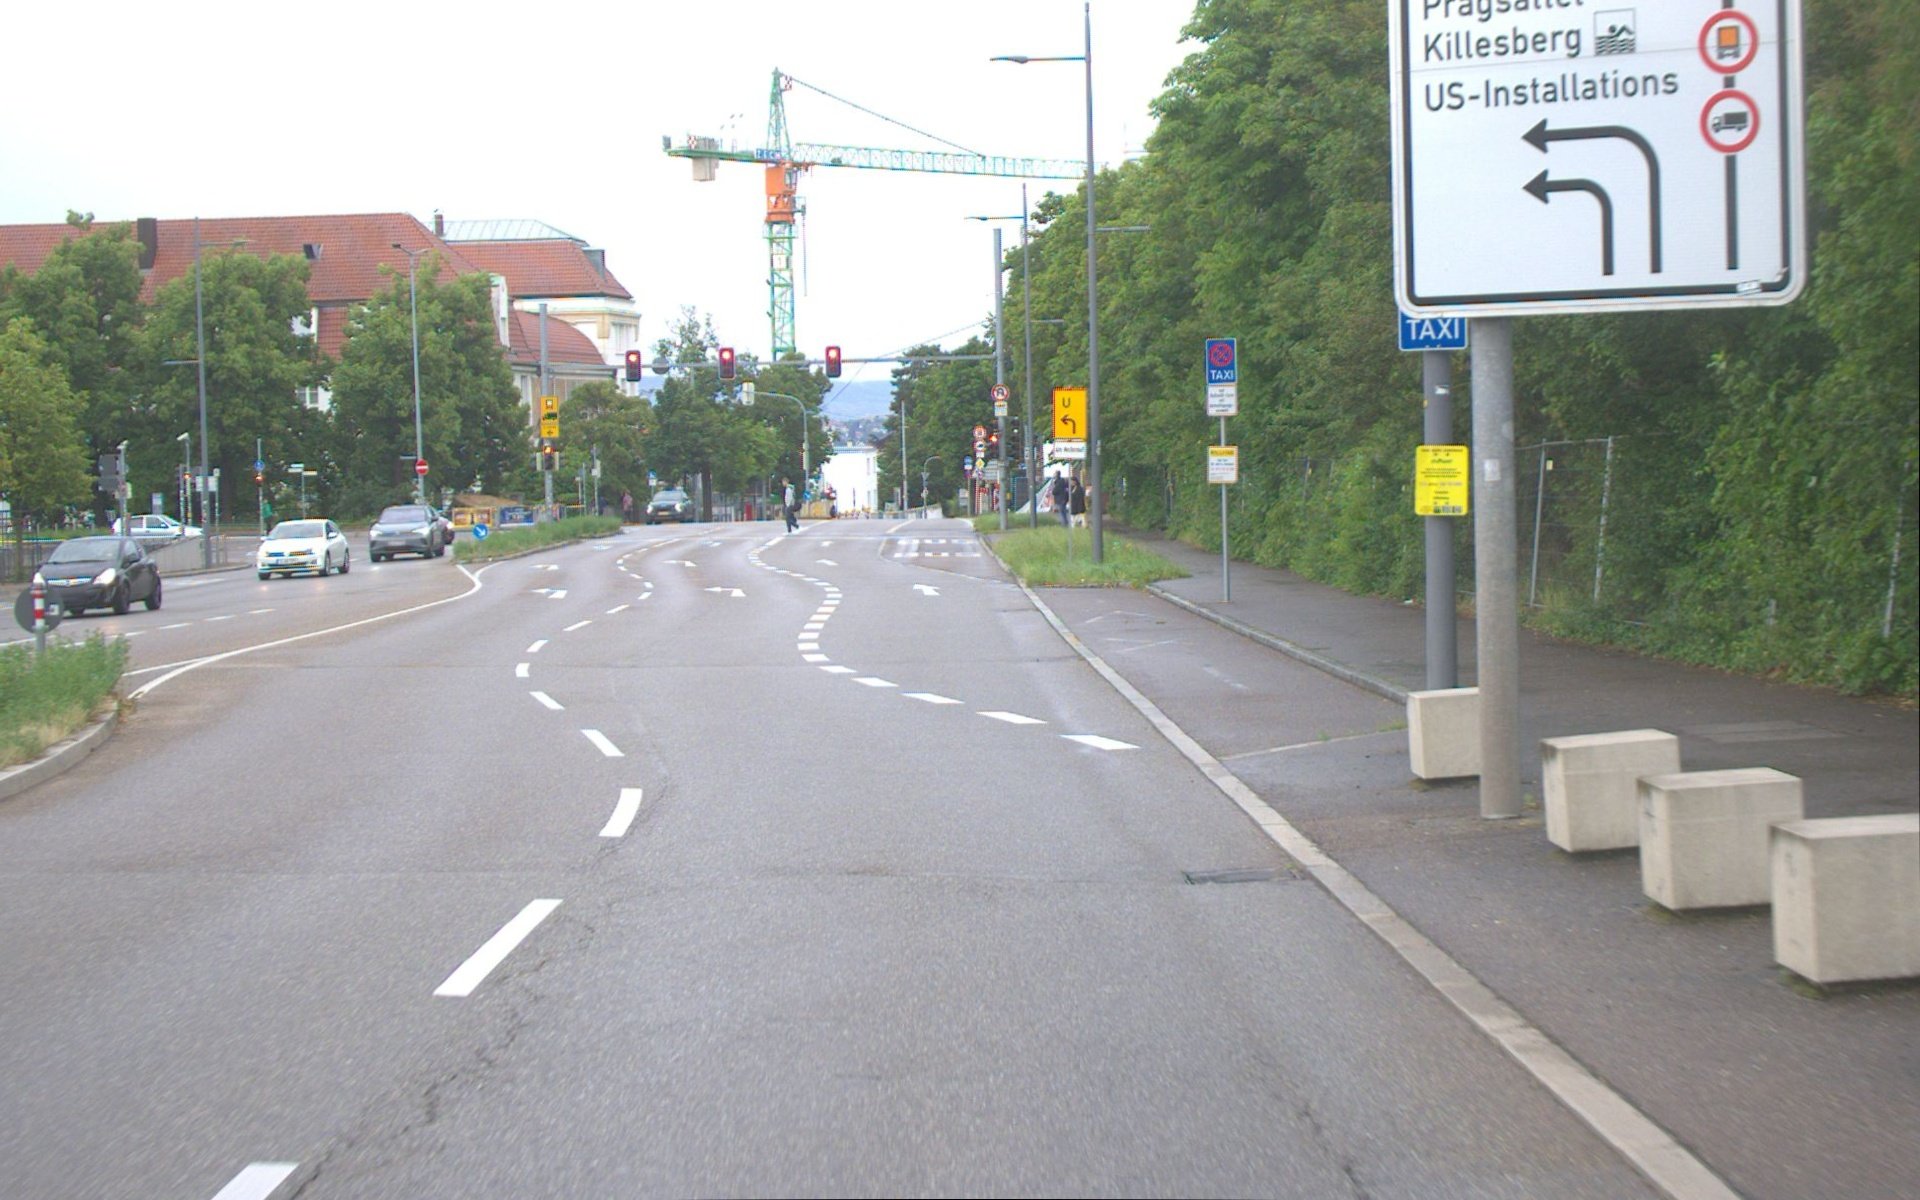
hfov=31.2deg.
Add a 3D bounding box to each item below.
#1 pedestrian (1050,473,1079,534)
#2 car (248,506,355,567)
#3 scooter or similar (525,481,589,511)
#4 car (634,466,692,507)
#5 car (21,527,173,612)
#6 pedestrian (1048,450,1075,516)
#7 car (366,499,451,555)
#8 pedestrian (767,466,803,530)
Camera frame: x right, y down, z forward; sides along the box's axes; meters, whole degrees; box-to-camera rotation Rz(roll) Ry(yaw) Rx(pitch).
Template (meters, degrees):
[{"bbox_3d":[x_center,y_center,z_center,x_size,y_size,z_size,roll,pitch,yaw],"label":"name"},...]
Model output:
[{"bbox_3d":[2.880,-2.671,94.825,0.675,1.652,0.793,-1,2,-6],"label":"pedestrian"},{"bbox_3d":[-16.644,-1.604,87.023,1.873,1.425,4.176,-3,1,-1],"label":"car"},{"bbox_3d":[-20.123,-5.213,171.858,3.087,1.435,0.949,-1,2,-2],"label":"scooter or similar"},{"bbox_3d":[-14.087,-5.378,163.411,1.994,1.831,3.999,1,0,6],"label":"car"},{"bbox_3d":[-15.968,-0.583,63.767,1.846,1.457,3.867,-2,1,-1],"label":"car"},{"bbox_3d":[2.931,-3.383,99.222,0.640,1.894,0.718,-1,2,-6],"label":"pedestrian"},{"bbox_3d":[-16.812,-2.214,105.014,1.831,1.567,4.594,-3,1,-1],"label":"car"},{"bbox_3d":[-5.684,-3.332,111.965,0.940,2.006,0.847,-4,2,5],"label":"pedestrian"}]
